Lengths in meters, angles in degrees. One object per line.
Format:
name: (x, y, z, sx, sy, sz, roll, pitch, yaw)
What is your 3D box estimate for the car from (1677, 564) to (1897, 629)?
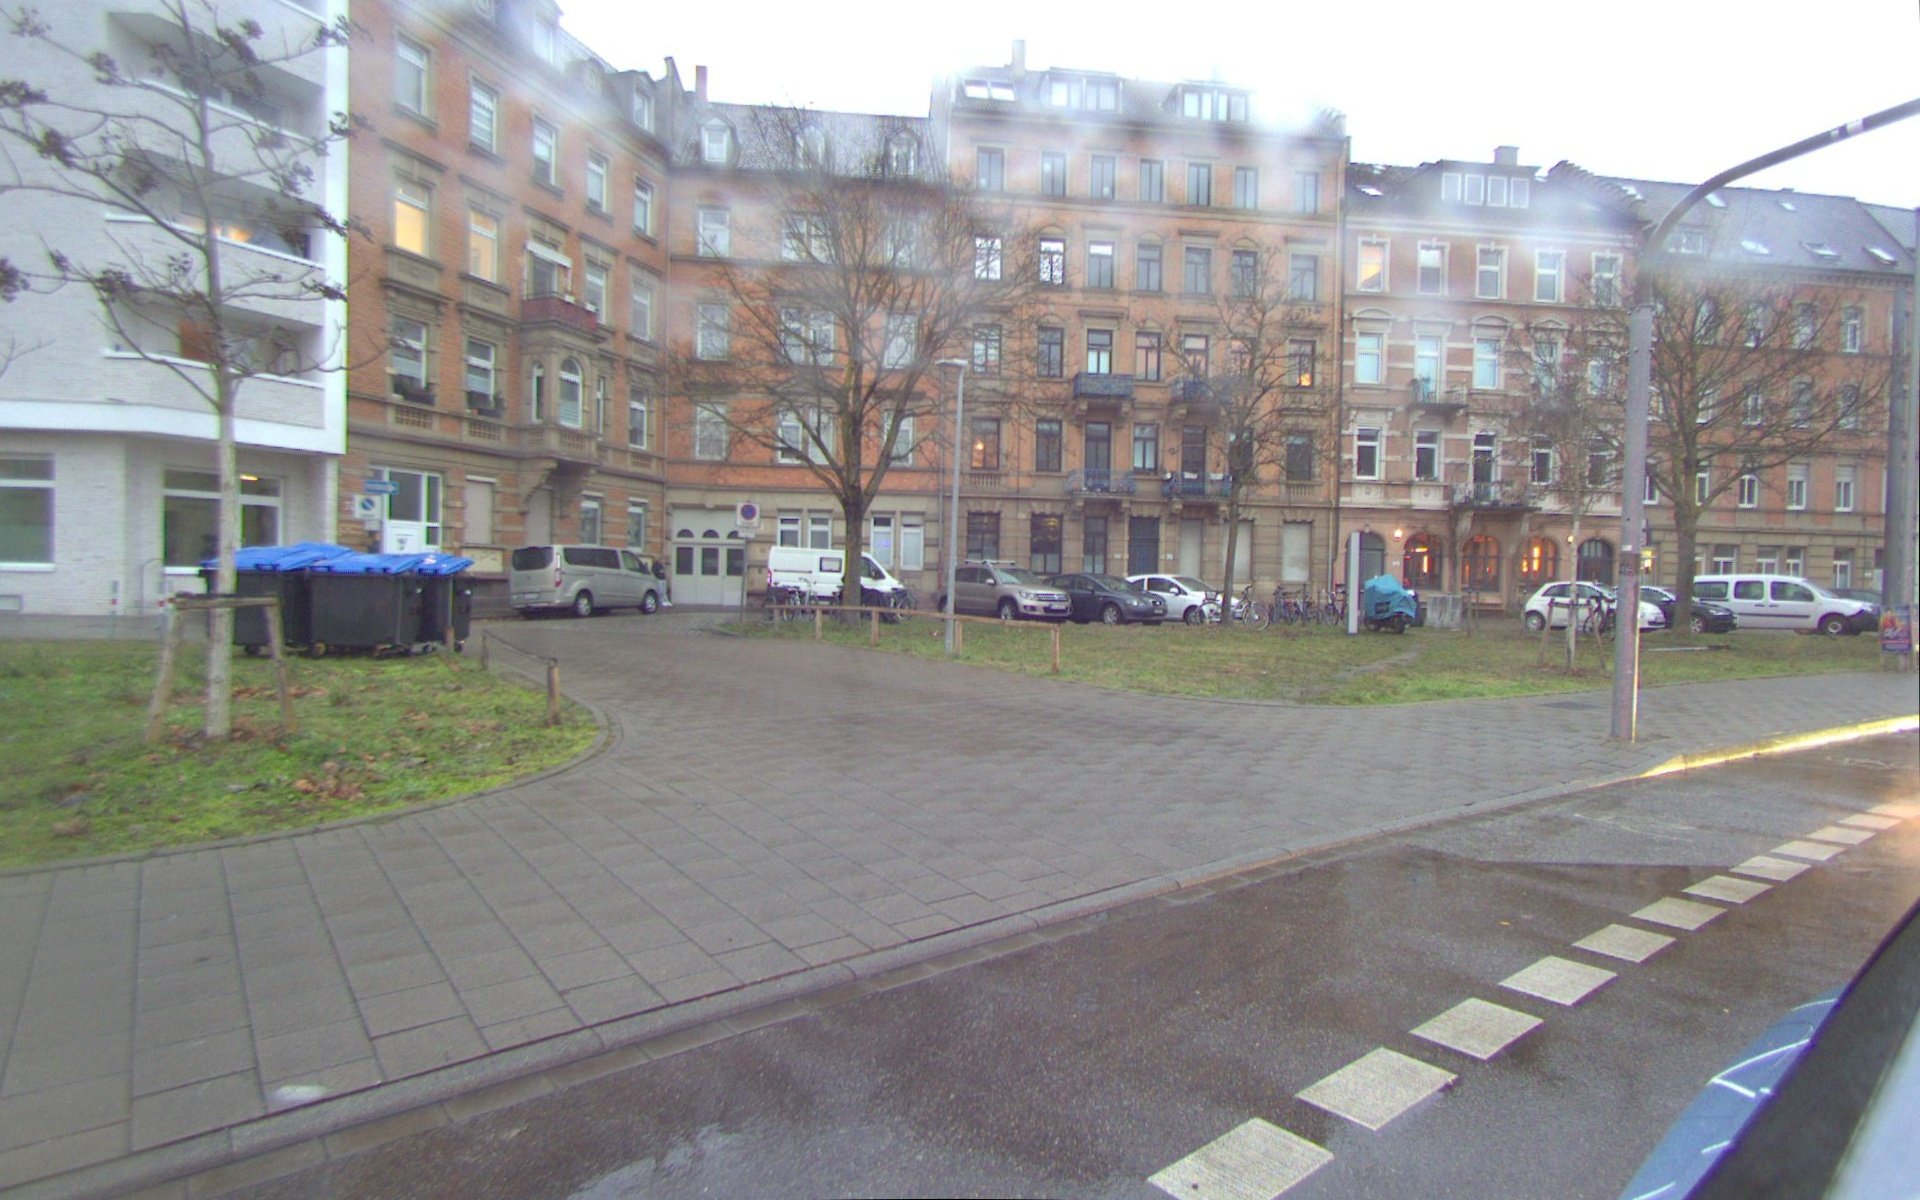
car: (24.076, -0.168, 29.644, 1.745, 1.611, 4.663, 0, 3, -37)

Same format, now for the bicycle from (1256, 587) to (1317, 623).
bicycle: (9.413, 0.142, 29.279, 0.613, 0.978, 2.175, 3, -1, -13)

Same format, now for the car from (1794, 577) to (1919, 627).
car: (27.109, 0.081, 29.429, 1.737, 1.250, 4.066, 2, 3, -35)

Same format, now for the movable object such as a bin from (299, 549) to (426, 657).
movable object such as a bin: (-8.353, 0.019, 14.211, 1.200, 1.433, 1.018, 1, 2, -3)

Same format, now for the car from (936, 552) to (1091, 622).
car: (1.318, -0.403, 26.429, 1.908, 1.656, 4.000, -1, 3, -37)

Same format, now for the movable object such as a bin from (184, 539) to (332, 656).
movable object such as a bin: (-9.652, -0.039, 13.970, 1.302, 1.513, 1.032, 2, 1, -4)

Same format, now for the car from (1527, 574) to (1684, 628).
car: (18.410, 0.036, 28.989, 1.583, 1.461, 3.467, 1, 0, -34)

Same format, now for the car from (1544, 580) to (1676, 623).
car: (24.211, 0.085, 37.769, 3.967, 1.520, 1.740, 1, -1, -9)

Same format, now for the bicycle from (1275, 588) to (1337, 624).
bicycle: (10.021, 0.169, 29.392, 0.613, 0.978, 2.175, 3, -1, -13)

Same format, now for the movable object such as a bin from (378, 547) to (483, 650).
movable object such as a bin: (-8.025, -0.007, 15.386, 1.022, 1.509, 1.035, 0, -1, 6)

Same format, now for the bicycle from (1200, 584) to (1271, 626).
bicycle: (6.633, 0.107, 24.419, 1.628, 0.948, 0.512, 2, 1, 15)

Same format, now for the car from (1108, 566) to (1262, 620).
car: (6.062, -0.214, 27.602, 1.669, 1.353, 3.852, 0, 1, -42)

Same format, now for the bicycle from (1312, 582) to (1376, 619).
bicycle: (11.107, -0.011, 29.343, 0.613, 0.978, 2.176, 1, 2, -13)

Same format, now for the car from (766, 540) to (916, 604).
car: (-4.058, -0.964, 34.486, 4.885, 2.038, 2.004, 1, 2, -8)

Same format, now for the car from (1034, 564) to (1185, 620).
car: (3.870, -0.210, 26.658, 1.649, 1.372, 3.737, 2, 0, -42)

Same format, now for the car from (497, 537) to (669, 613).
car: (-10.501, -0.622, 28.634, 1.976, 1.943, 4.715, -1, -1, 21)

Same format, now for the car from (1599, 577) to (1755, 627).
car: (20.977, 0.041, 29.697, 1.634, 1.368, 3.430, 1, 0, -39)
